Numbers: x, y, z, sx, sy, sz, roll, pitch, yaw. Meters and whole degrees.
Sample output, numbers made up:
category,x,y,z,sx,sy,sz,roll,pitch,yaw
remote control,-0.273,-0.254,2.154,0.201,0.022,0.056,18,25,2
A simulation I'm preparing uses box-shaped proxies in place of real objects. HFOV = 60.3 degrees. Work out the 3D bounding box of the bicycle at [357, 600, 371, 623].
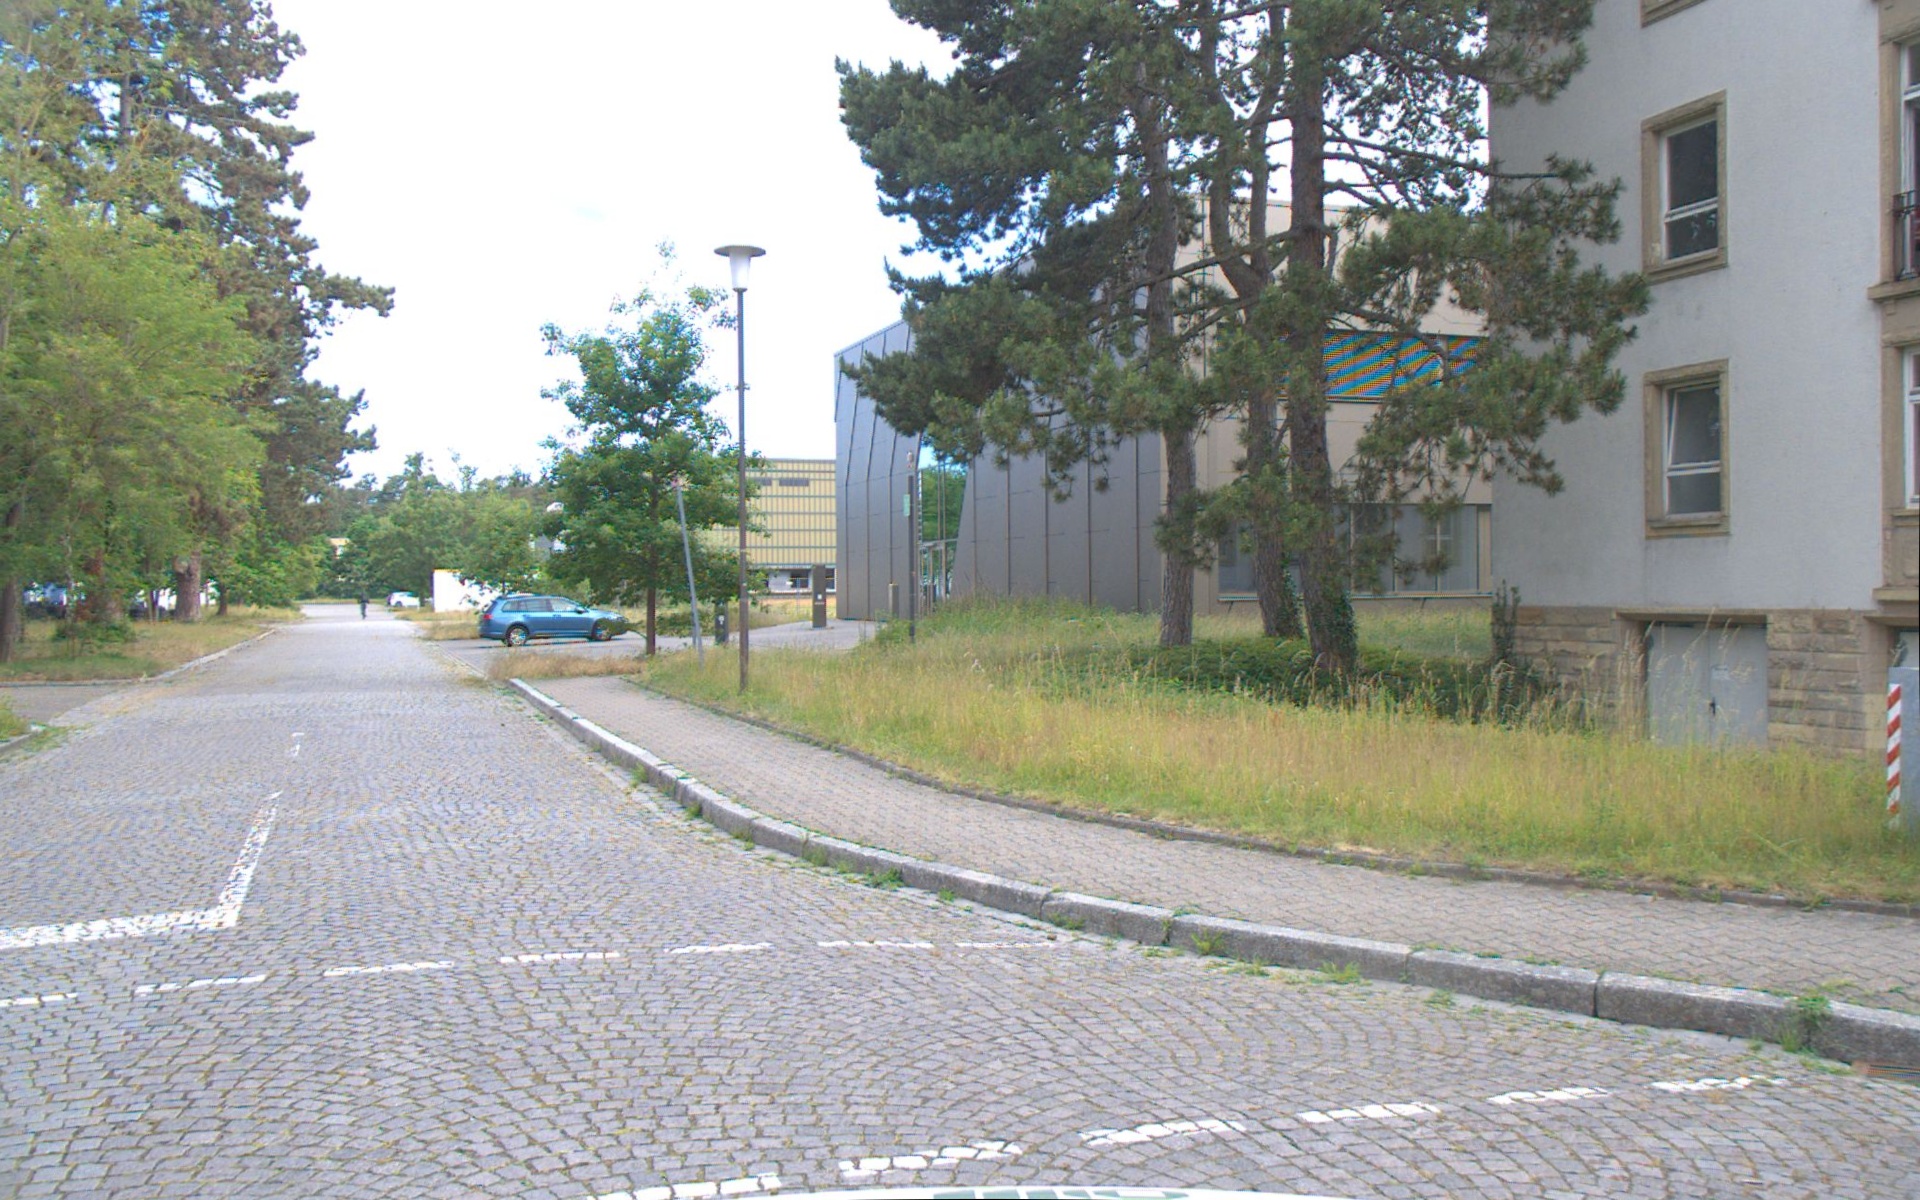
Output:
category,x,y,z,sx,sy,sz,roll,pitch,yaw
bicycle,-38.383,0.716,106.567,0.812,1.400,2.030,0,1,-21

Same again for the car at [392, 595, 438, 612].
category,x,y,z,sx,sy,sz,roll,pitch,yaw
car,-53.777,0.342,163.085,4.257,1.576,1.989,-1,0,-20

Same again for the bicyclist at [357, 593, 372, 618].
category,x,y,z,sx,sy,sz,roll,pitch,yaw
bicyclist,-38.377,0.356,106.552,0.885,1.569,0.862,0,1,-22

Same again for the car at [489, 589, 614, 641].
category,x,y,z,sx,sy,sz,roll,pitch,yaw
car,-14.465,0.502,58.550,4.052,1.599,1.752,-3,1,-23

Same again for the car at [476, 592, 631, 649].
category,x,y,z,sx,sy,sz,roll,pitch,yaw
car,-12.612,0.608,51.326,4.421,1.488,1.921,-3,1,-23
